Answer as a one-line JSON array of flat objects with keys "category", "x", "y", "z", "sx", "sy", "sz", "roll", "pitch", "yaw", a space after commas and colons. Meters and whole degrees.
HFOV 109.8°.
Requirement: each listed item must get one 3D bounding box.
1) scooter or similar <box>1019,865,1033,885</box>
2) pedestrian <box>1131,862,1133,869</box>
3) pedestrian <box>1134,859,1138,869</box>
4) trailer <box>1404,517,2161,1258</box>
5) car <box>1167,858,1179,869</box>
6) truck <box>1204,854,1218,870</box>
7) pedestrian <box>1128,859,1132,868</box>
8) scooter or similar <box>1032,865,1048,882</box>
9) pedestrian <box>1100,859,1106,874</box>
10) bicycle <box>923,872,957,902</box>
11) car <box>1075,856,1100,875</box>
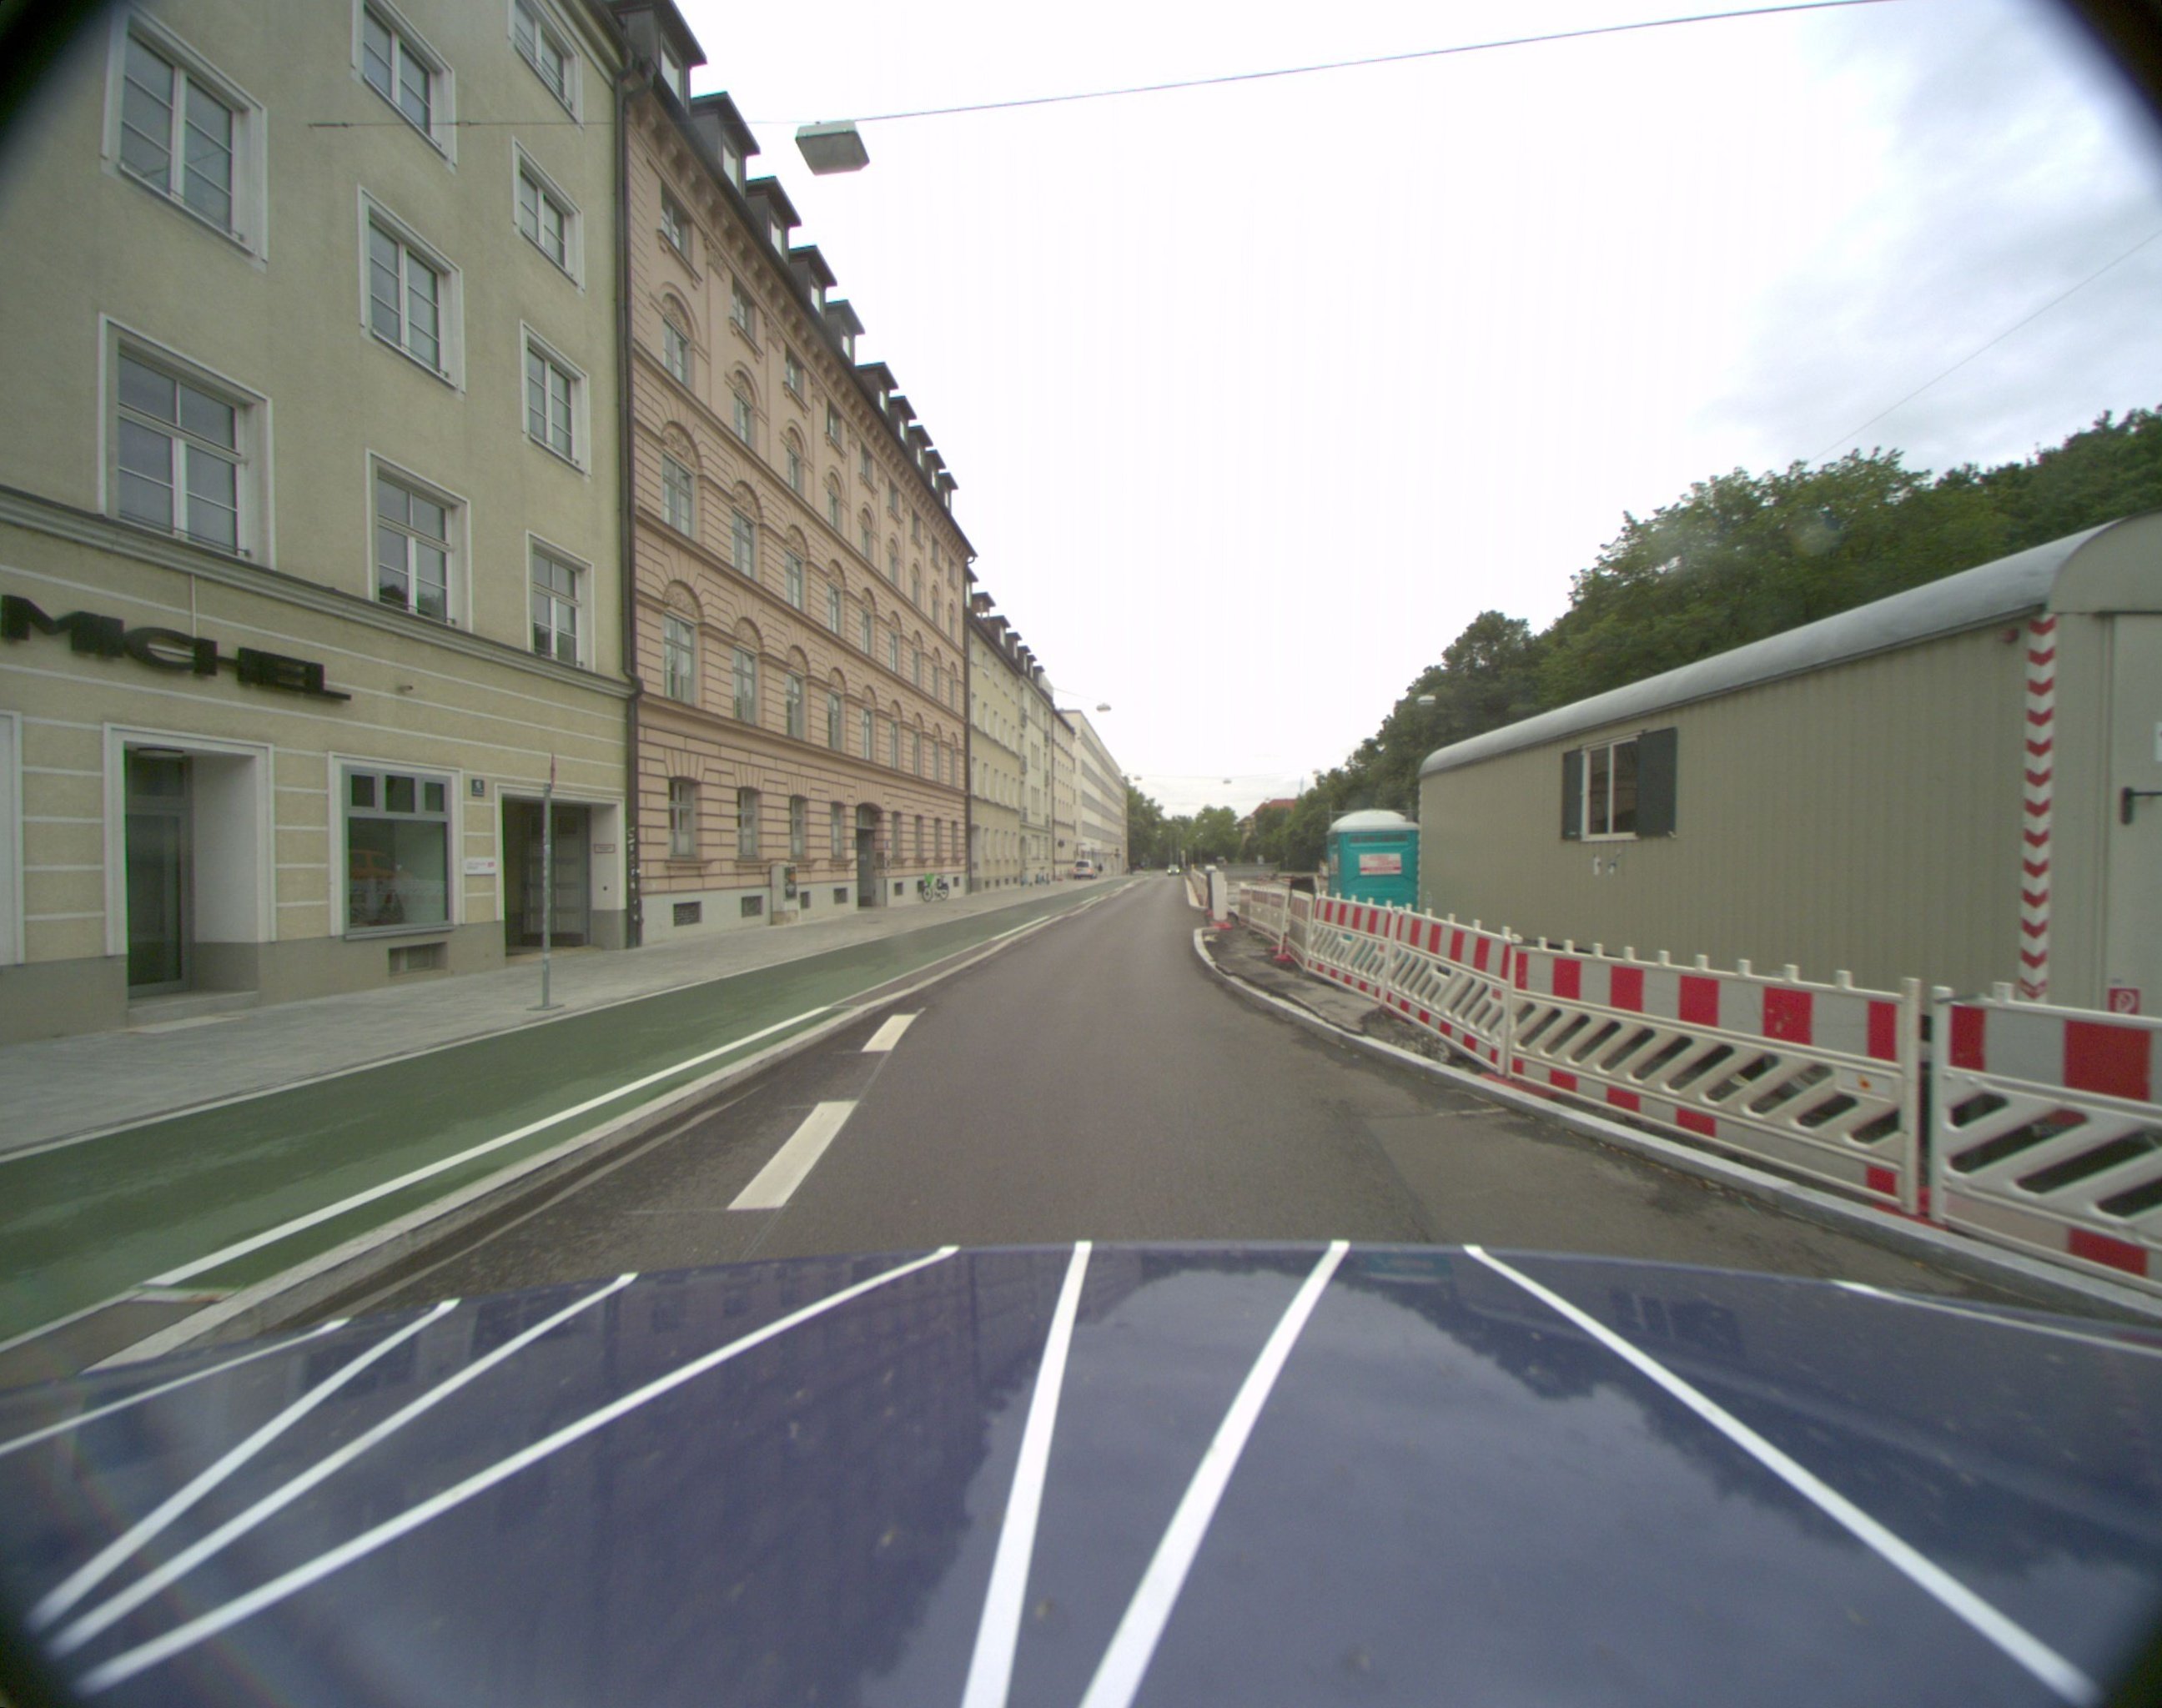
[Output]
[{"category": "scooter or similar", "x": -3.539, "y": 1.365, "z": 49.290, "sx": 0.246, "sy": 1.224, "sz": 1.122, "roll": 2, "pitch": 1, "yaw": 33}, {"category": "pedestrian", "x": 9.023, "y": 1.973, "z": 134.252, "sx": 0.367, "sy": 1.239, "sz": 0.470, "roll": 0, "pitch": 0, "yaw": 8}, {"category": "pedestrian", "x": 9.700, "y": 1.763, "z": 134.195, "sx": 0.514, "sy": 1.825, "sz": 0.602, "roll": 0, "pitch": 0, "yaw": 8}, {"category": "trailer", "x": 5.548, "y": 0.124, "z": 7.033, "sx": 2.232, "sy": 3.225, "sz": 7.520, "roll": -1, "pitch": 0, "yaw": 3}, {"category": "car", "x": 15.536, "y": 1.599, "z": 128.520, "sx": 1.997, "sy": 1.738, "sz": 4.002, "roll": 0, "pitch": 0, "yaw": 6}, {"category": "truck", "x": 21.863, "y": 1.324, "z": 127.968, "sx": 2.057, "sy": 2.625, "sz": 4.415, "roll": 0, "pitch": 0, "yaw": 6}, {"category": "pedestrian", "x": 8.729, "y": 1.764, "z": 135.525, "sx": 0.753, "sy": 1.610, "sz": 0.704, "roll": 0, "pitch": 0, "yaw": 8}, {"category": "scooter or similar", "x": -2.883, "y": 1.380, "z": 53.978, "sx": 1.121, "sy": 1.224, "sz": 0.246, "roll": 1, "pitch": 1, "yaw": -26}, {"category": "pedestrian", "x": 2.509, "y": 1.423, "z": 86.904, "sx": 0.666, "sy": 1.626, "sz": 0.738, "roll": 0, "pitch": 0, "yaw": 7}, {"category": "bicycle", "x": -5.743, "y": 1.327, "z": 31.024, "sx": 0.426, "sy": 1.167, "sz": 1.734, "roll": 0, "pitch": 0, "yaw": 25}, {"category": "car", "x": 0.633, "y": 1.075, "z": 71.324, "sx": 1.736, "sy": 1.739, "sz": 4.438, "roll": 0, "pitch": 0, "yaw": 8}]
